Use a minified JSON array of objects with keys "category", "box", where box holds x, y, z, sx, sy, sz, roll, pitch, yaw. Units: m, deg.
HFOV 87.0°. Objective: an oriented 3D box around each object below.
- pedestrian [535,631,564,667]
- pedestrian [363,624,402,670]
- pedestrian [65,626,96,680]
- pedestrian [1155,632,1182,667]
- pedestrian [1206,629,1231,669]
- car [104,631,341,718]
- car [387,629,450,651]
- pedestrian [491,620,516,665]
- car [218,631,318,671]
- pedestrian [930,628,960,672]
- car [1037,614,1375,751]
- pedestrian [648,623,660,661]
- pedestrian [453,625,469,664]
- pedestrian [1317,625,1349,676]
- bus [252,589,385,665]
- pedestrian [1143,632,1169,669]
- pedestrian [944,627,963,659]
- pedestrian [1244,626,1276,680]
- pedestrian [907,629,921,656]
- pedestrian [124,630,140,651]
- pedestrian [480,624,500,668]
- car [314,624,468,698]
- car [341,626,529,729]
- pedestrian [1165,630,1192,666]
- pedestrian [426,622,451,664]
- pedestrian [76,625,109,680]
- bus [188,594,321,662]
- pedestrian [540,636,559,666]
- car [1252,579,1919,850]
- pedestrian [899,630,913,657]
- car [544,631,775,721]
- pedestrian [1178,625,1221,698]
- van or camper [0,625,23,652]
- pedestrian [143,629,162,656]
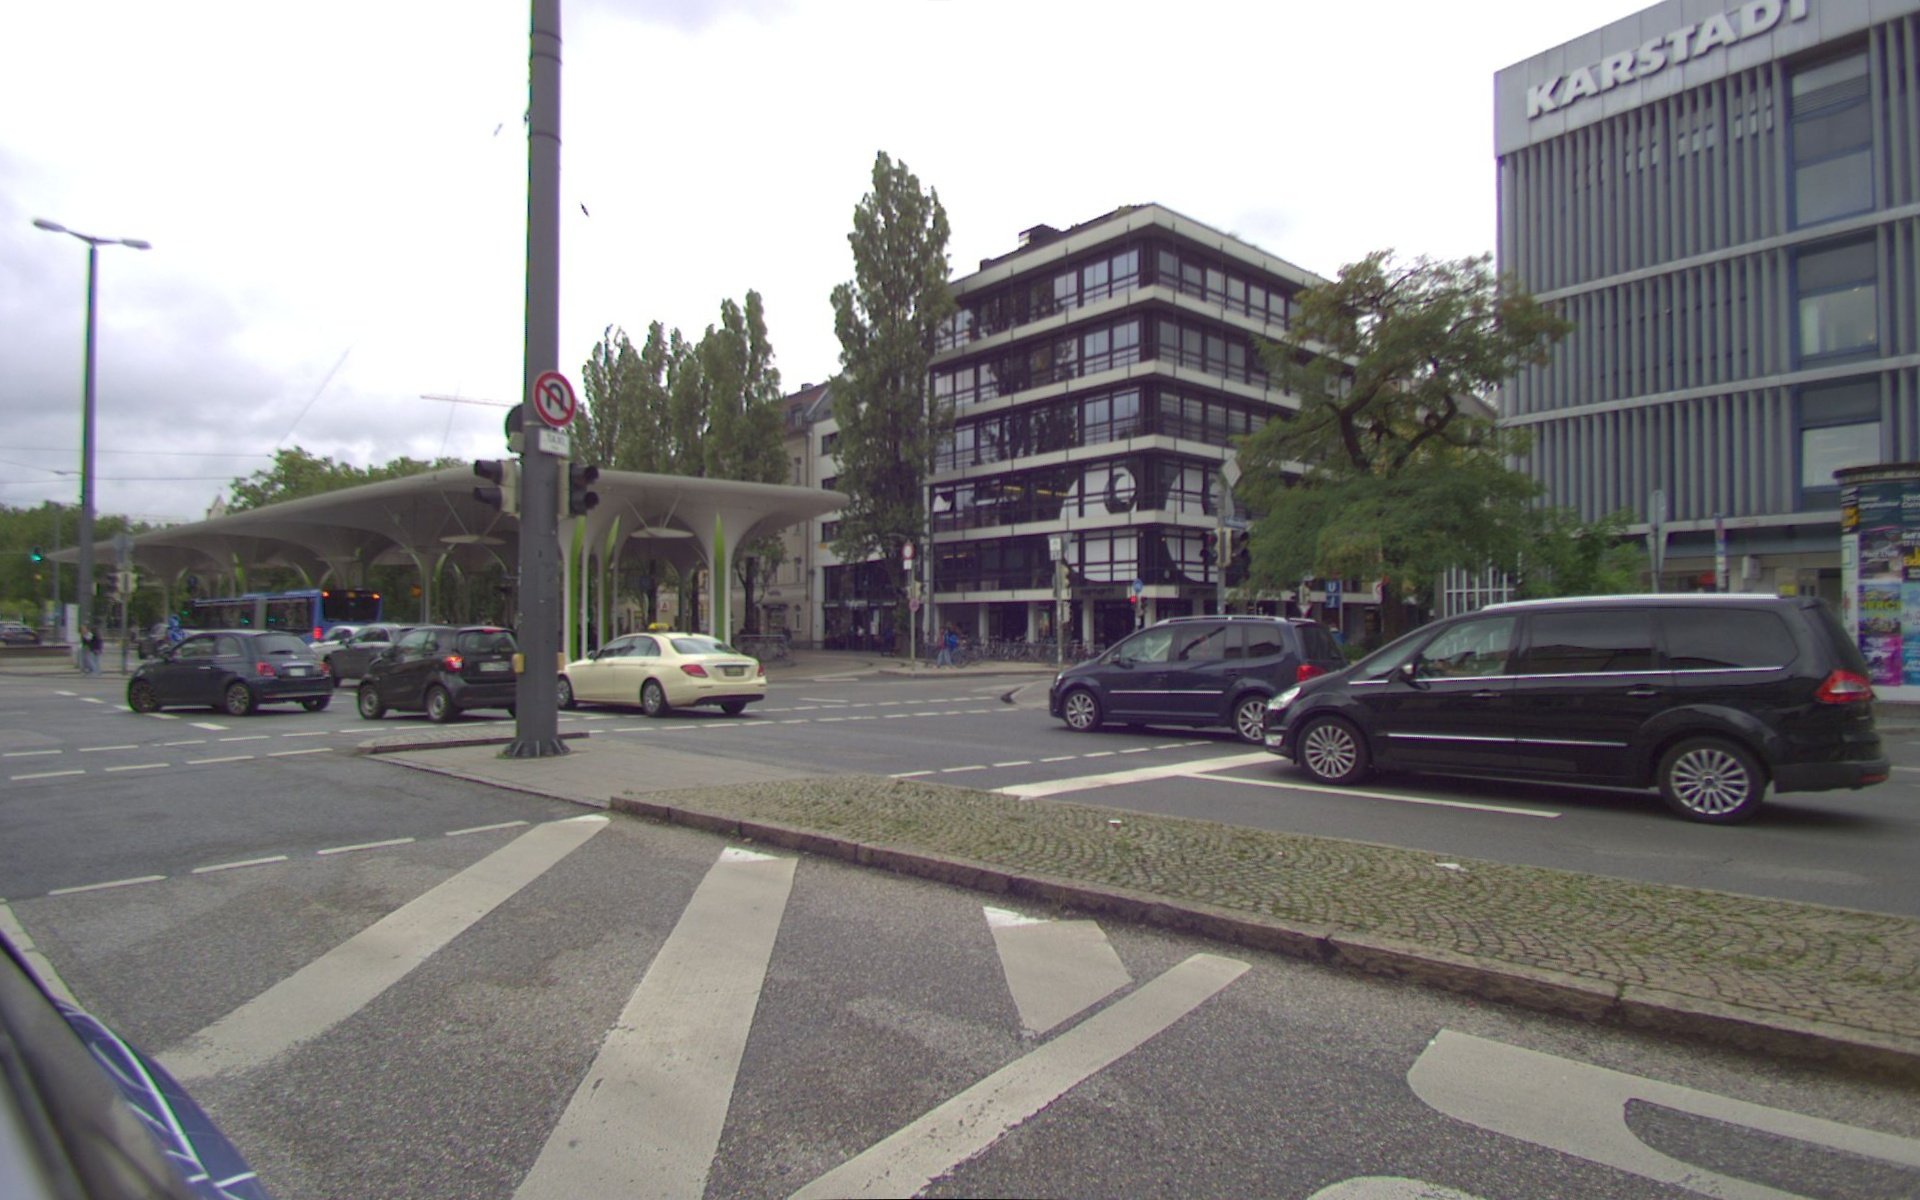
[{"category":"pedestrian","box":[-17.103,2.028,42.159,1.008,1.464,0.856,0,-2,-15]},{"category":"pedestrian","box":[-21.538,1.740,37.767,0.833,1.694,0.969,-1,-2,12]},{"category":"pedestrian","box":[-26.799,1.605,30.826,0.514,1.631,0.464,0,-2,-6]},{"category":"pedestrian","box":[9.475,2.241,45.972,0.730,1.600,0.951,1,-3,-38]},{"category":"pedestrian","box":[13.291,2.509,51.988,0.902,2.029,0.838,1,-2,-31]},{"category":"car","box":[-13.196,1.312,18.156,3.505,1.457,1.543,-1,-3,15]},{"category":"car","box":[-49.575,3.663,92.699,4.853,1.962,1.874,1,-2,-40]},{"category":"pedestrian","box":[-18.719,1.745,41.481,0.793,1.831,0.707,1,-2,-35]},{"category":"car","box":[-26.308,1.909,38.428,4.162,1.422,1.974,-2,-2,38]},{"category":"pedestrian","box":[-0.562,1.861,37.923,0.790,1.654,0.845,-2,-3,45]},{"category":"car","box":[3.320,1.074,14.155,4.256,1.626,1.819,-2,-4,41]},{"category":"pedestrian","box":[-15.916,2.190,52.567,0.418,1.947,0.481,-1,-2,12]},{"category":"pedestrian","box":[-20.917,1.871,42.431,0.511,1.600,0.482,0,-2,-19]},{"category":"pedestrian","box":[12.697,1.719,34.446,0.860,1.700,0.780,-1,-2,32]},{"category":"bus","box":[-27.683,1.212,43.519,7.507,3.031,2.633,-2,-4,40]},{"category":"pedestrian","box":[8.823,2.261,45.605,0.777,1.654,0.860,1,-3,-38]},{"category":"pedestrian","box":[-0.378,2.471,58.127,0.710,1.814,0.829,1,-2,-39]},{"category":"pedestrian","box":[9.364,1.637,31.578,0.805,1.631,0.834,-1,-2,25]},{"category":"pedestrian","box":[-2.831,2.604,62.011,0.584,1.604,0.675,1,-2,-31]},{"category":"pedestrian","box":[-66.687,3.266,81.503,0.737,1.641,0.734,-1,-2,19]},{"category":"pedestrian","box":[-18.378,1.792,39.556,0.540,1.733,0.616,1,-2,-42]},{"category":"car","box":[-14.278,1.475,25.288,4.727,1.683,1.726,-2,-2,39]},{"category":"car","box":[-8.623,1.218,16.615,2.827,1.546,1.492,-1,-2,31]},{"category":"pedestrian","box":[10.050,2.200,46.566,0.789,1.666,0.854,1,-3,-38]},{"category":"pedestrian","box":[-21.325,1.744,41.367,0.736,1.687,0.632,0,-2,-8]},{"category":"pedestrian","box":[-26.394,1.593,30.797,0.551,1.631,0.487,0,-2,6]},{"category":"bus","box":[-34.563,1.413,49.342,10.508,3.031,2.633,-2,-4,40]},{"category":"pedestrian","box":[-17.517,2.161,43.174,0.612,1.245,0.532,-2,-2,40]},{"category":"car","box":[5.121,0.816,8.813,4.586,1.752,1.916,-2,-2,41]},{"category":"pedestrian","box":[-3.274,2.618,61.378,0.584,1.604,0.675,1,-2,-31]},{"category":"car","box":[-5.505,1.306,18.217,4.637,1.432,1.747,-2,-4,41]},{"category":"pedestrian","box":[5.289,1.344,22.363,0.720,1.586,0.631,-2,-2,40]},{"category":"van or camper","box":[-68.670,2.753,72.131,5.433,1.840,1.909,-2,-2,38]},{"category":"pedestrian","box":[-56.588,2.985,70.909,0.802,1.853,0.664,-1,-2,10]}]
